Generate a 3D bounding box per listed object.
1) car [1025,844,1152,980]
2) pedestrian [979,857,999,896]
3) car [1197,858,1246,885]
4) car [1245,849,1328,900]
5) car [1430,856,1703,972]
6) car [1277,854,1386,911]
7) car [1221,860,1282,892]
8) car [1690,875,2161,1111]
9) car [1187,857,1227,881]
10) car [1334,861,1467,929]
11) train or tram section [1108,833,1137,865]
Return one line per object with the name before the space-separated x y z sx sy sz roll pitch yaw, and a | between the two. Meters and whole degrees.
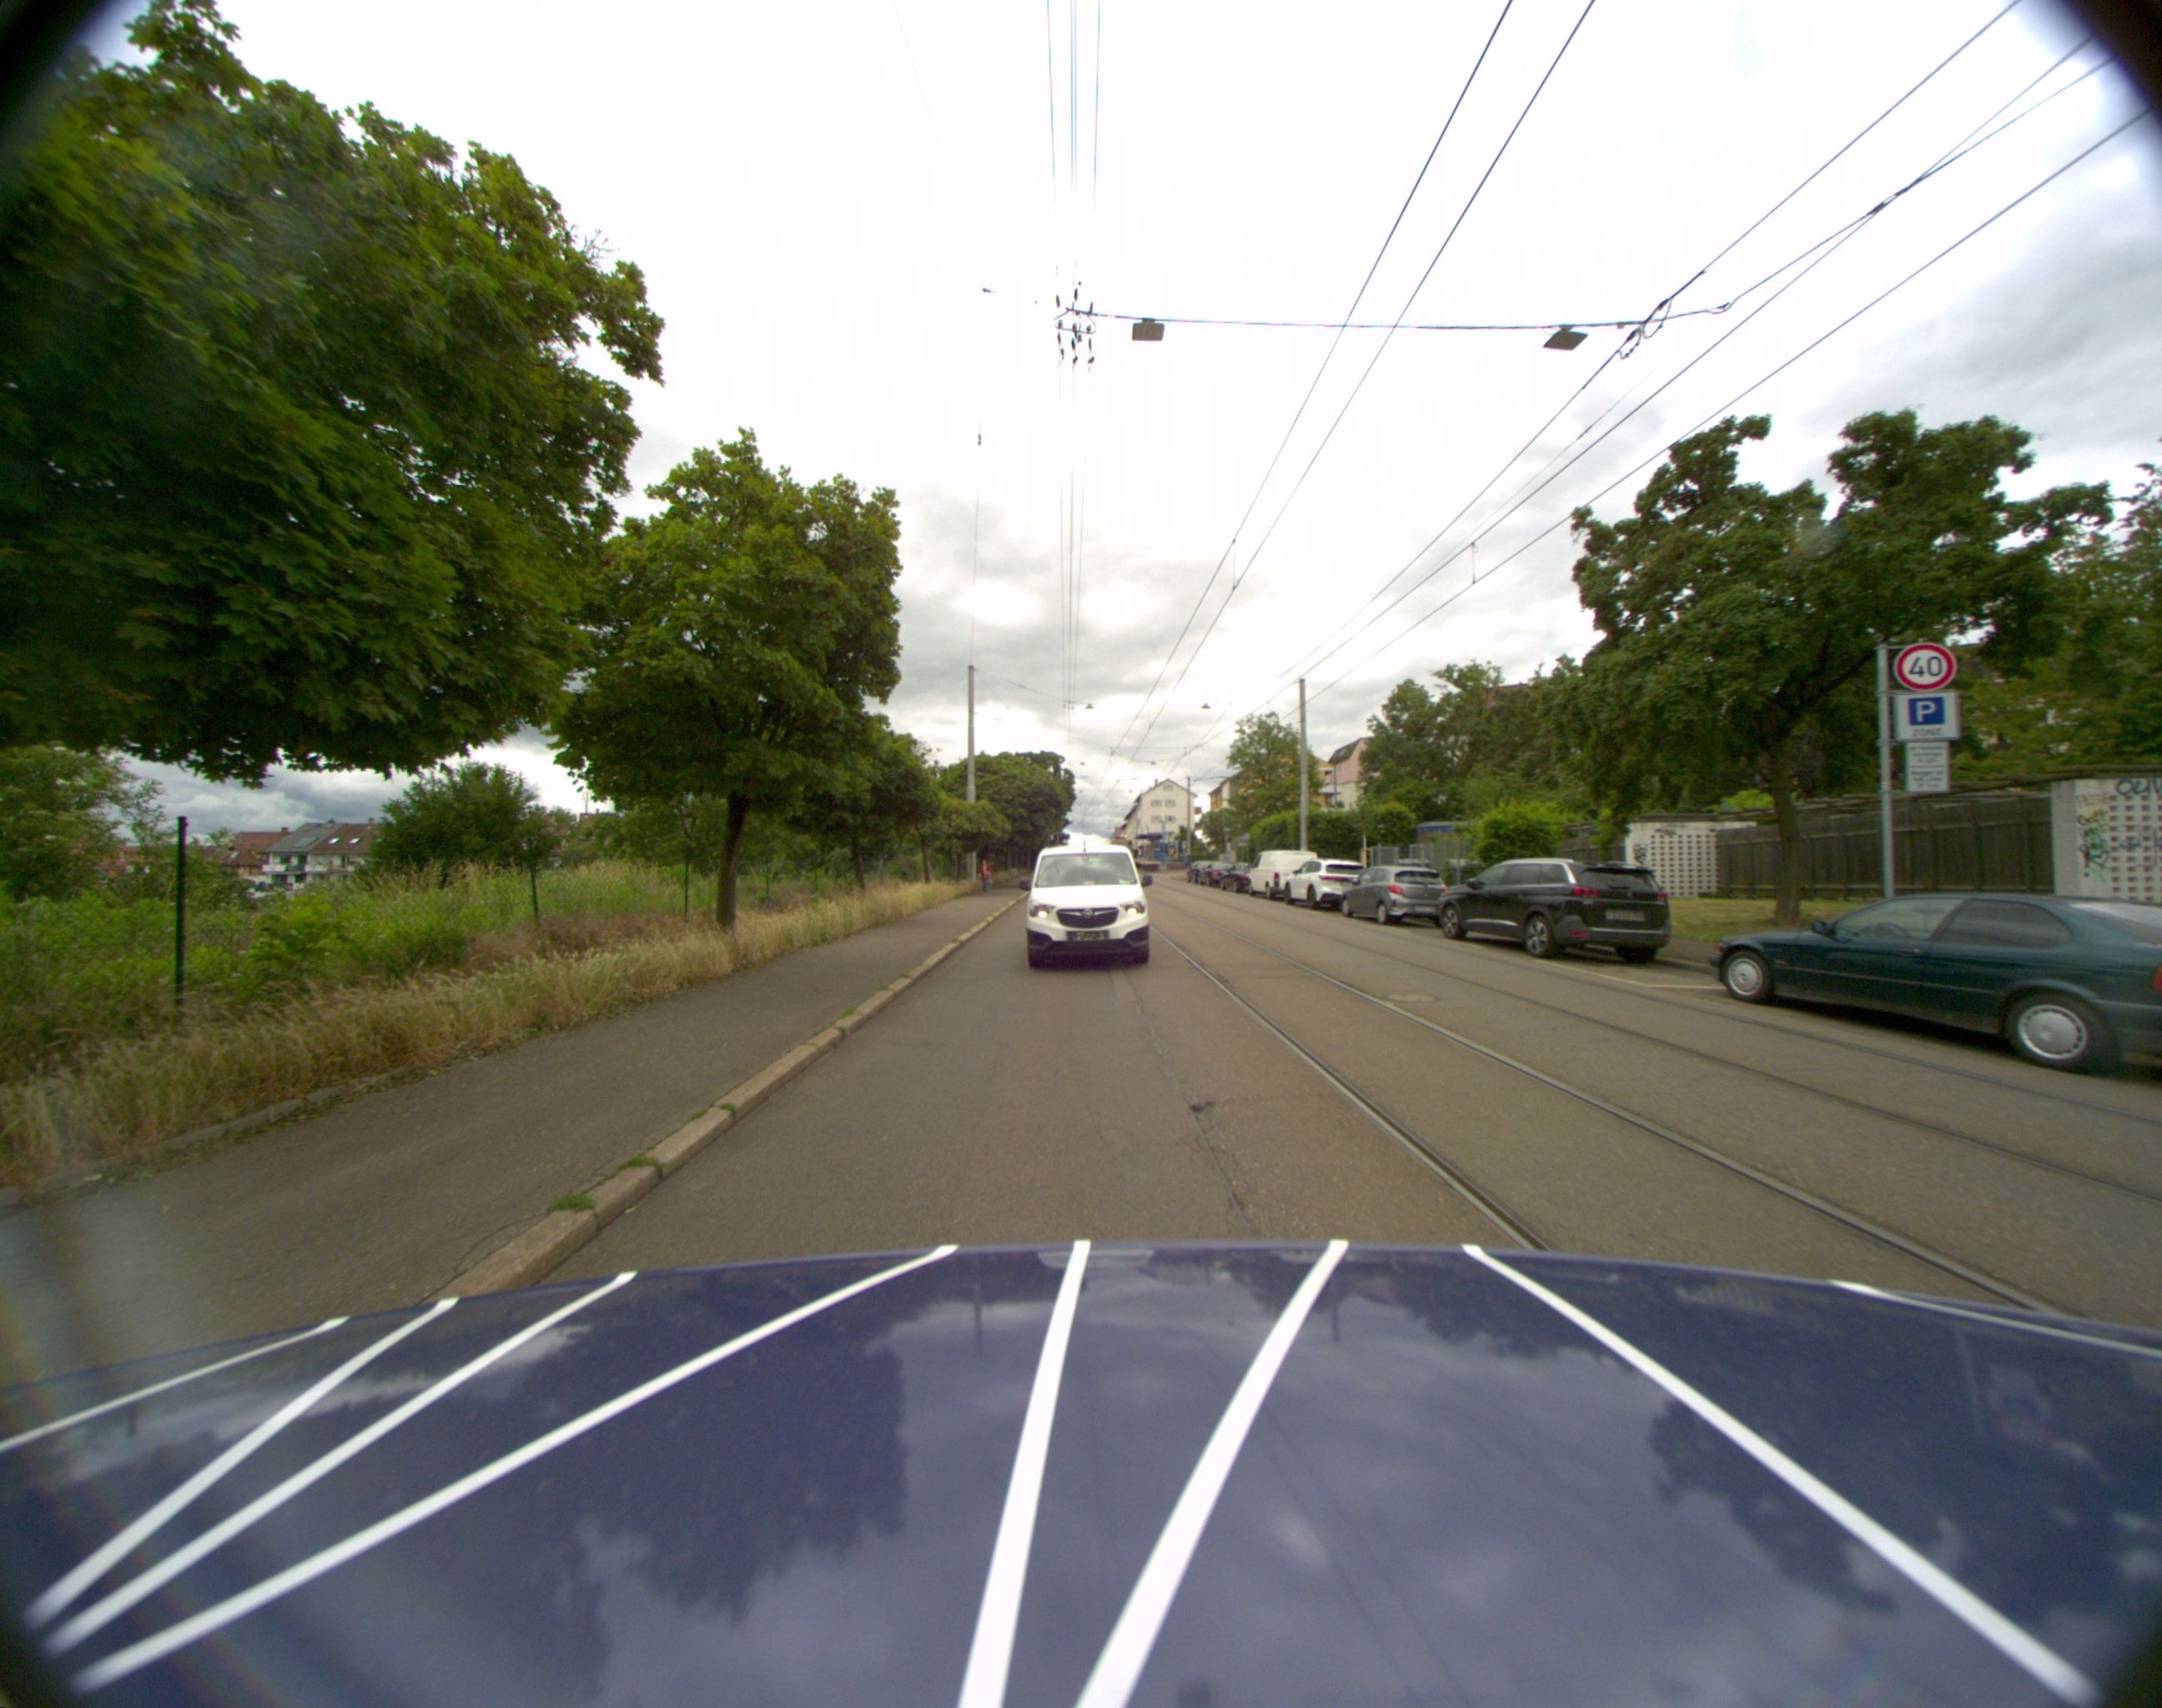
car | 0.131 0.803 12.623 1.730 1.850 4.420 -1 0 1
pedestrian | -3.892 0.937 32.115 0.716 1.611 0.718 -1 1 0
car | 7.906 0.949 43.065 1.845 1.379 4.439 0 1 -1
car | 8.255 0.757 31.029 1.974 1.902 4.733 0 1 -1
car | 8.323 0.908 13.652 1.974 1.677 4.443 0 1 -1
car | 8.153 0.862 25.260 1.974 1.677 4.631 0 1 -1
car | 8.132 1.009 36.652 1.845 1.379 4.516 0 1 -1
car | 8.276 1.024 7.166 1.625 1.469 4.155 0 1 -1
car | 8.005 0.936 48.600 1.794 1.396 4.160 0 1 -1
car | 8.167 0.995 19.835 1.743 1.500 3.868 0 1 -1
train or tram section | 4.975 -0.638 93.317 2.857 3.615 12.128 -1 0 0
